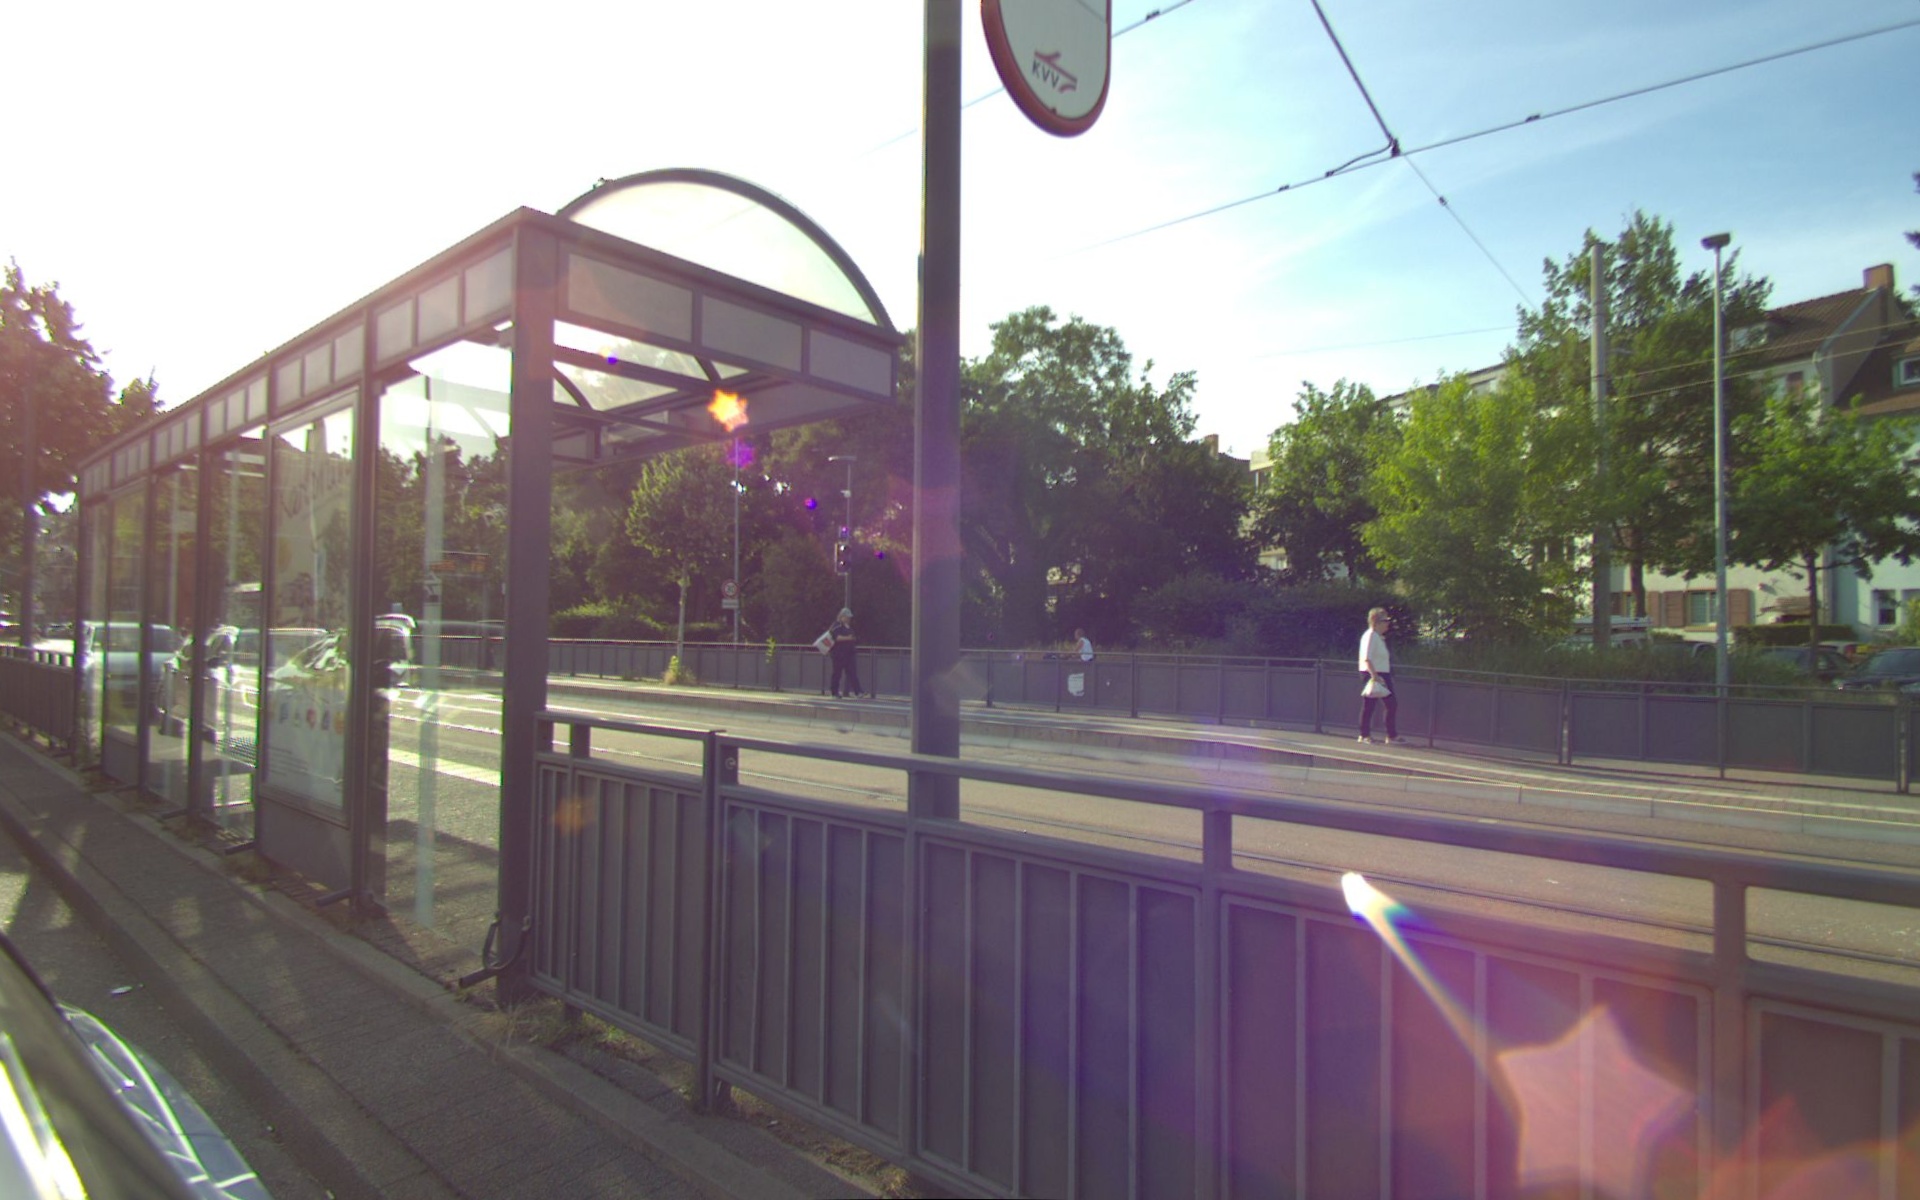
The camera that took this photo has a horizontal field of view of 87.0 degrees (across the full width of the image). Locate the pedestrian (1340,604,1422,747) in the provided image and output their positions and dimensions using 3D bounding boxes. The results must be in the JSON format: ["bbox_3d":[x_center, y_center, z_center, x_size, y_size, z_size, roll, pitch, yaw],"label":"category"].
[{"bbox_3d":[5.063,0.883,12.171,0.727,1.640,0.699,-1,-3,41],"label":"pedestrian"}]

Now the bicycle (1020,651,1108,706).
[{"bbox_3d":[2.278,1.704,22.331,1.864,1.118,0.718,-2,-1,42],"label":"bicycle"}]

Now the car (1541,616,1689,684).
[{"bbox_3d":[18.206,1.379,28.114,3.931,1.767,1.860,2,-2,-30],"label":"car"}]

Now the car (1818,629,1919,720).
[{"bbox_3d":[19.956,1.516,21.142,3.931,1.767,1.860,2,-2,-30],"label":"car"}]

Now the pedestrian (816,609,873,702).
[{"bbox_3d":[-2.093,0.996,18.378,0.689,1.640,0.727,-1,-3,41],"label":"pedestrian"}]

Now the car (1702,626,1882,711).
[{"bbox_3d":[18.746,1.498,22.796,3.931,1.767,1.860,2,-2,-30],"label":"car"}]

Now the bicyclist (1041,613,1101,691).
[{"bbox_3d":[2.428,1.122,22.175,1.071,1.636,0.697,-2,-1,42],"label":"bicyclist"}]
